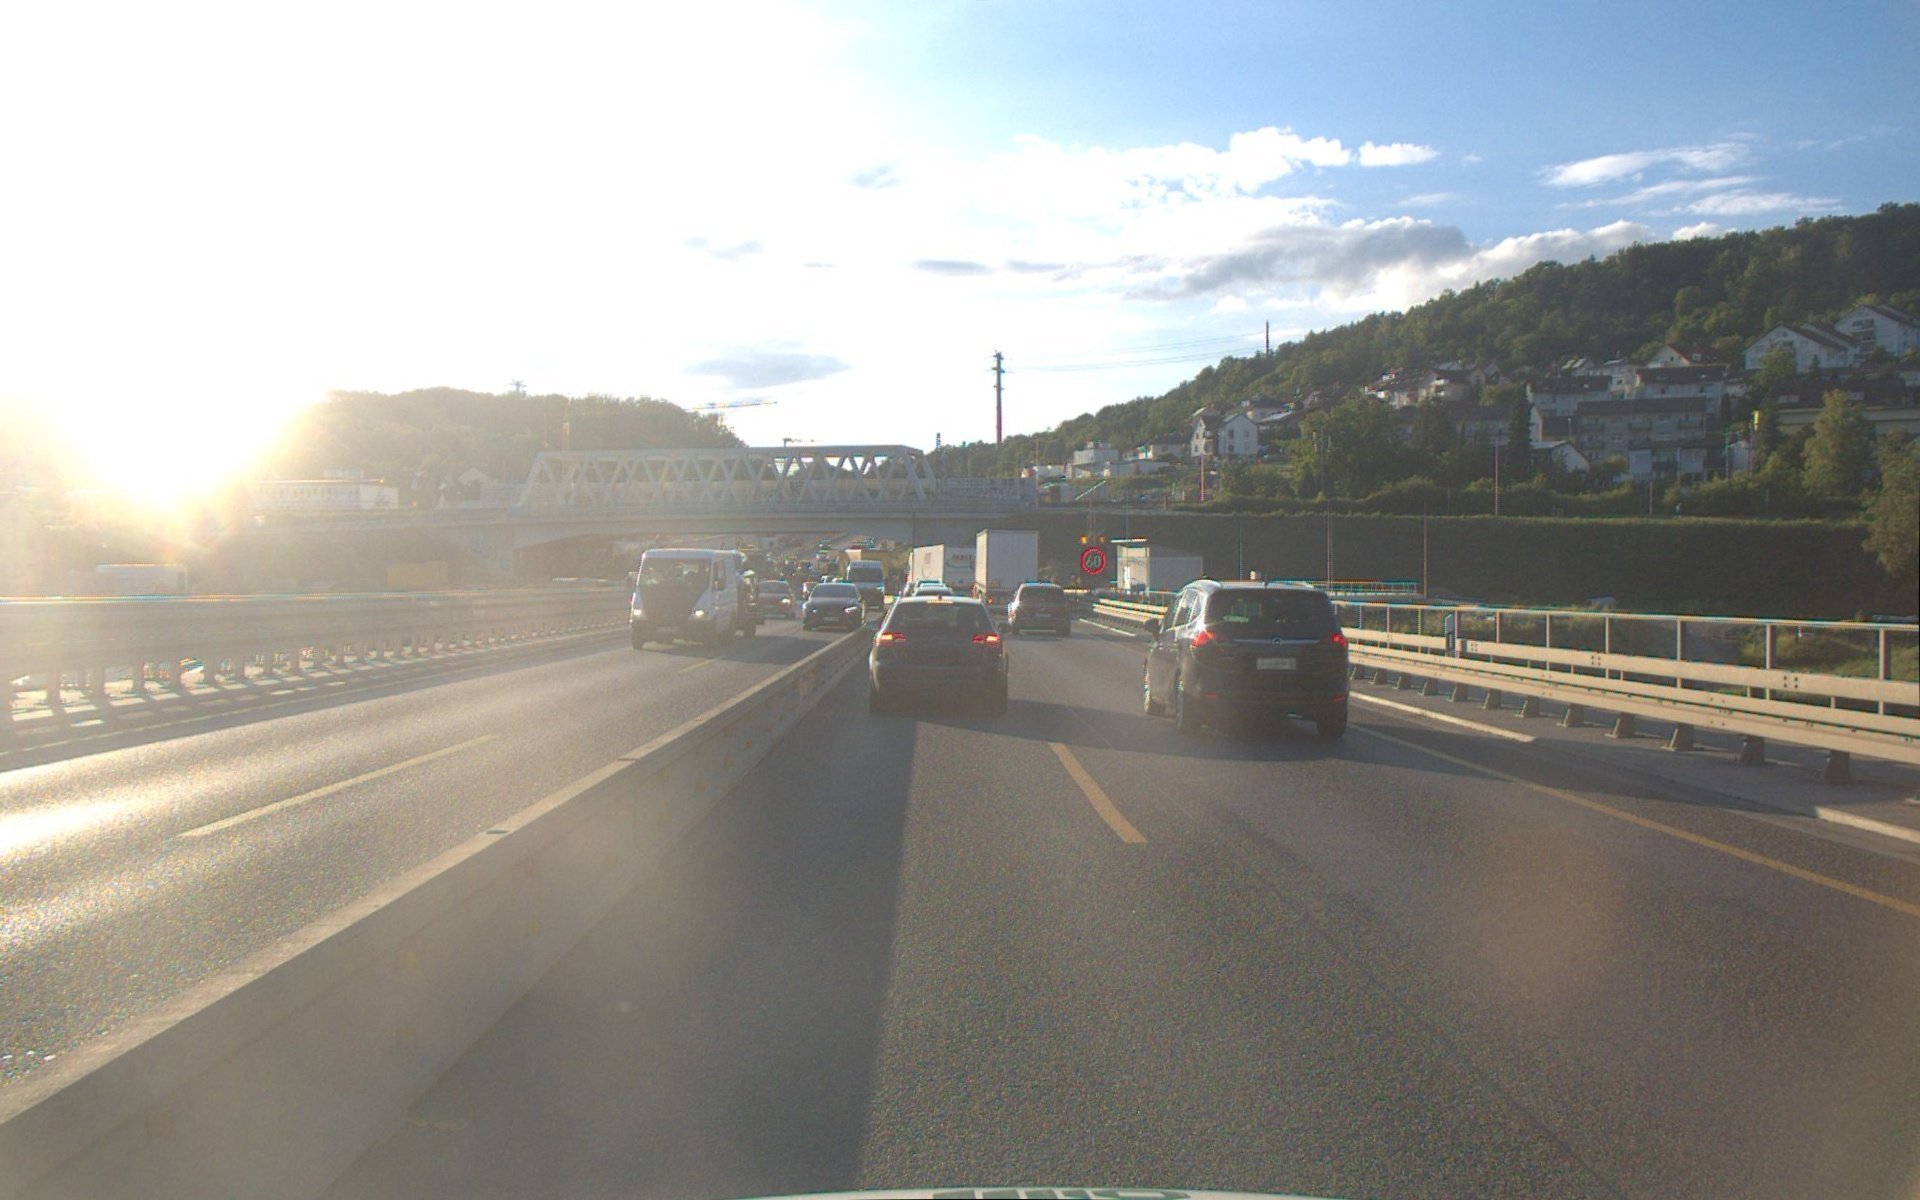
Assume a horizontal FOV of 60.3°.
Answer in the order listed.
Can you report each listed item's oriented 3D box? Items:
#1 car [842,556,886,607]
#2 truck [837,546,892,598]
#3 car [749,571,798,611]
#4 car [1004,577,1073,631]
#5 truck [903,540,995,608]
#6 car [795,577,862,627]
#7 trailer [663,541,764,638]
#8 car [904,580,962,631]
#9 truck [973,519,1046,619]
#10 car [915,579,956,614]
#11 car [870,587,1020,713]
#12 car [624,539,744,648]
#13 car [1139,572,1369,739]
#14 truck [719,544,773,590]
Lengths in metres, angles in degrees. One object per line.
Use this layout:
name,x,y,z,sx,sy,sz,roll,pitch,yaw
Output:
car,-4.952,-0.973,86.129,2.031,2.500,6.265,1,1,-2
truck,-9.131,-2.763,156.301,3.819,4.576,13.821,1,2,-9
car,-7.631,-0.378,67.914,1.584,1.579,4.087,0,1,-1
car,2.483,0.096,53.160,1.735,1.579,3.997,2,1,-4
truck,-0.967,-1.870,119.661,3.821,4.576,15.226,1,1,-11
car,-4.306,0.031,54.847,1.953,1.556,5.779,1,1,-2
trailer,-6.637,-0.311,45.095,2.035,2.463,5.218,1,1,-2
car,-0.899,0.138,52.848,1.730,1.512,3.998,2,1,-3
truck,2.391,-1.526,84.976,3.316,4.576,15.268,1,1,0
car,-1.096,-0.186,75.089,1.729,1.512,4.000,2,1,0
car,-0.241,0.573,21.392,1.734,1.414,3.999,1,1,-2
car,-6.496,-0.184,39.520,1.953,2.364,5.933,1,1,-1
car,3.233,0.534,19.045,1.777,1.660,4.410,1,1,-1
truck,-19.235,-2.986,148.247,2.886,3.958,10.210,1,1,-18
